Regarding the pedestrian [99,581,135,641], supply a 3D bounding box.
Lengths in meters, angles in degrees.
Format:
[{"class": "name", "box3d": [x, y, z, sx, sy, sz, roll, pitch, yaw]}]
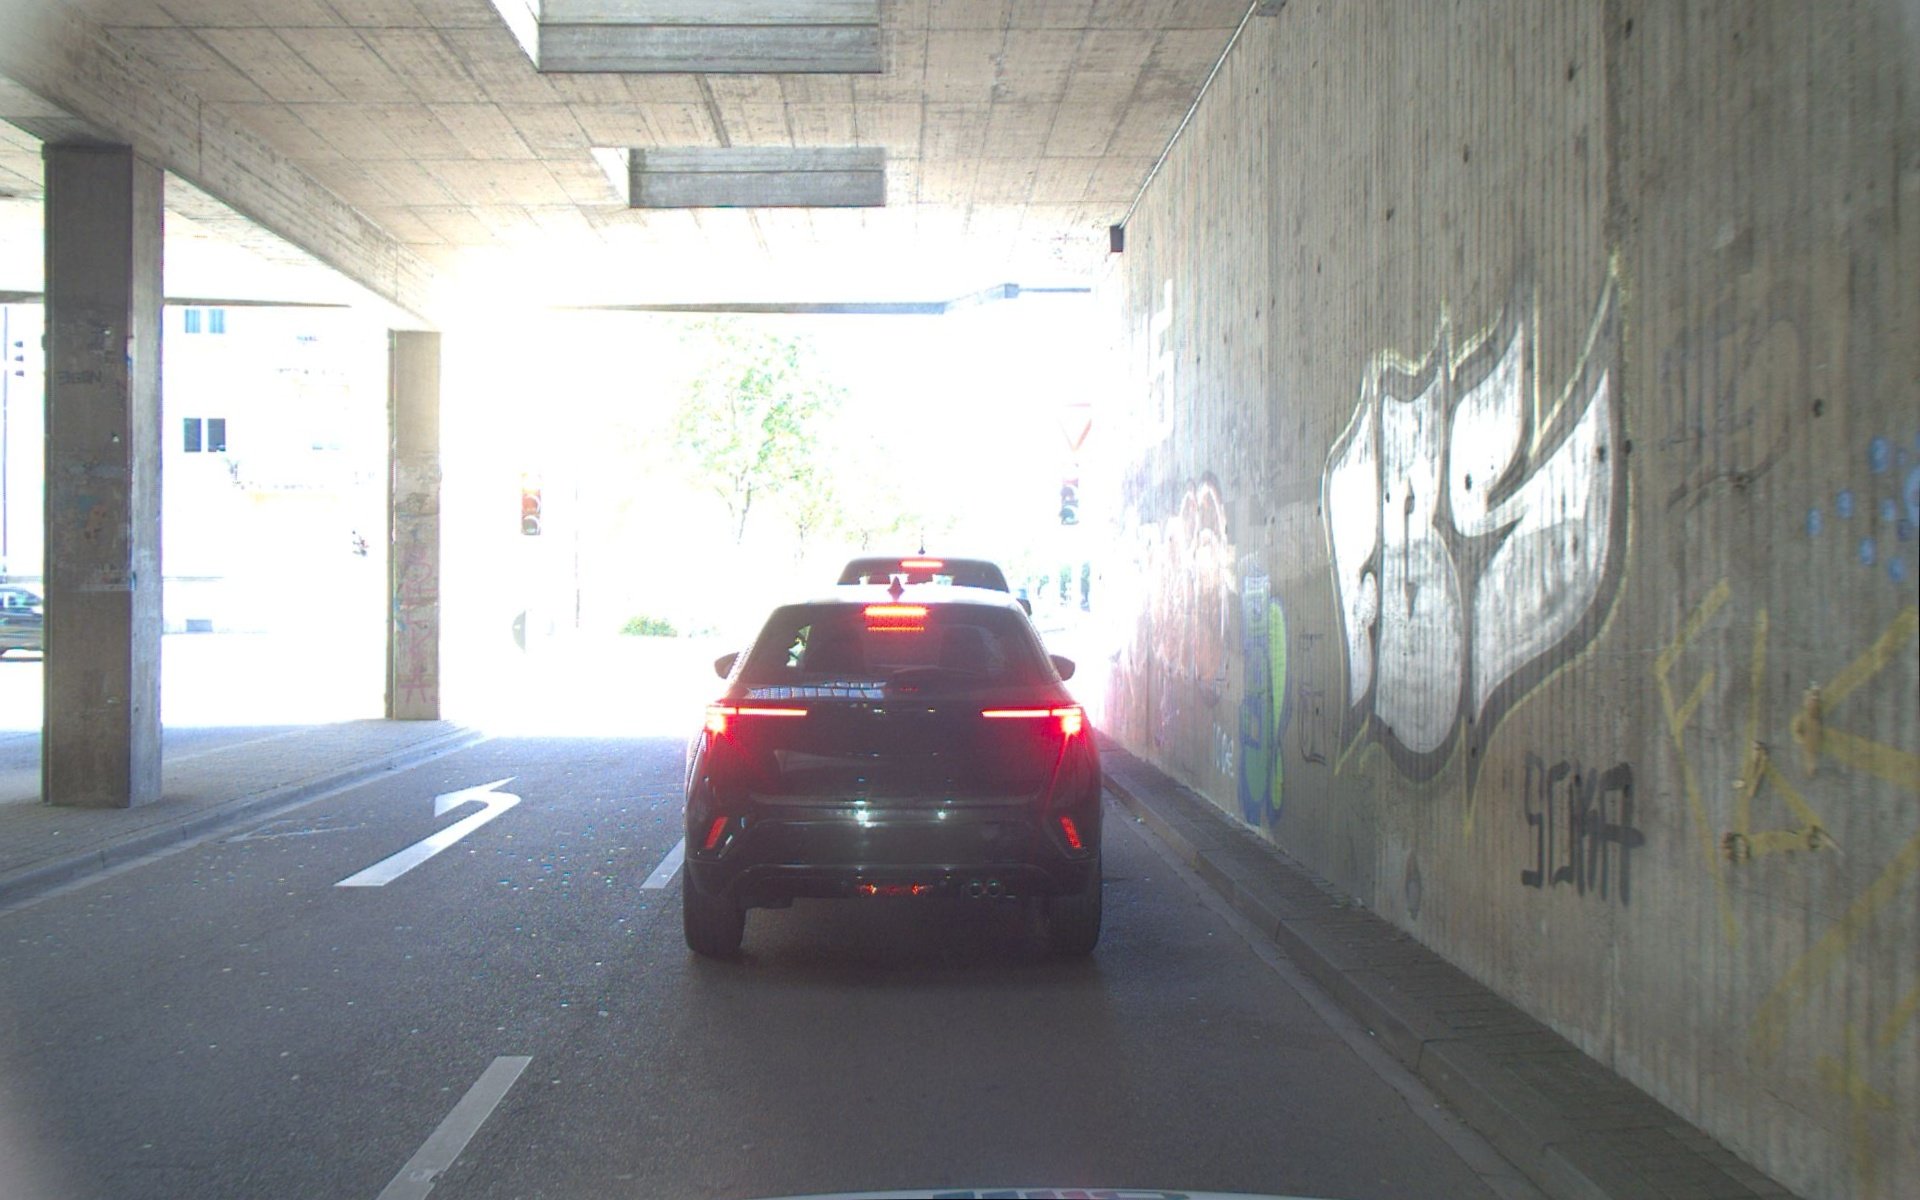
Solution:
[{"class": "pedestrian", "box3d": [-24.304, 0.316, 47.685, 0.707, 1.734, 0.623, 1, -1, -8]}]

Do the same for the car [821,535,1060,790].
[{"class": "car", "box3d": [-0.179, 0.450, 14.199, 1.749, 1.865, 3.960, 1, 0, -1]}]

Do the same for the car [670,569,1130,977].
[{"class": "car", "box3d": [-0.254, 0.645, 8.259, 1.718, 1.525, 3.999, 1, 0, -1]}]

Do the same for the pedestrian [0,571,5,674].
[{"class": "pedestrian", "box3d": [-17.133, 0.389, 28.094, 1.088, 1.767, 1.143, 0, 0, 12]}]

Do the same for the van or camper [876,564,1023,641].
[{"class": "van or camper", "box3d": [-0.254, 0.067, 45.244, 3.795, 2.049, 2.001, 0, 0, 6]}]

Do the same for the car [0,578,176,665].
[{"class": "car", "box3d": [-18.805, 0.425, 33.927, 4.481, 1.670, 2.001, -1, 1, 4]}]
